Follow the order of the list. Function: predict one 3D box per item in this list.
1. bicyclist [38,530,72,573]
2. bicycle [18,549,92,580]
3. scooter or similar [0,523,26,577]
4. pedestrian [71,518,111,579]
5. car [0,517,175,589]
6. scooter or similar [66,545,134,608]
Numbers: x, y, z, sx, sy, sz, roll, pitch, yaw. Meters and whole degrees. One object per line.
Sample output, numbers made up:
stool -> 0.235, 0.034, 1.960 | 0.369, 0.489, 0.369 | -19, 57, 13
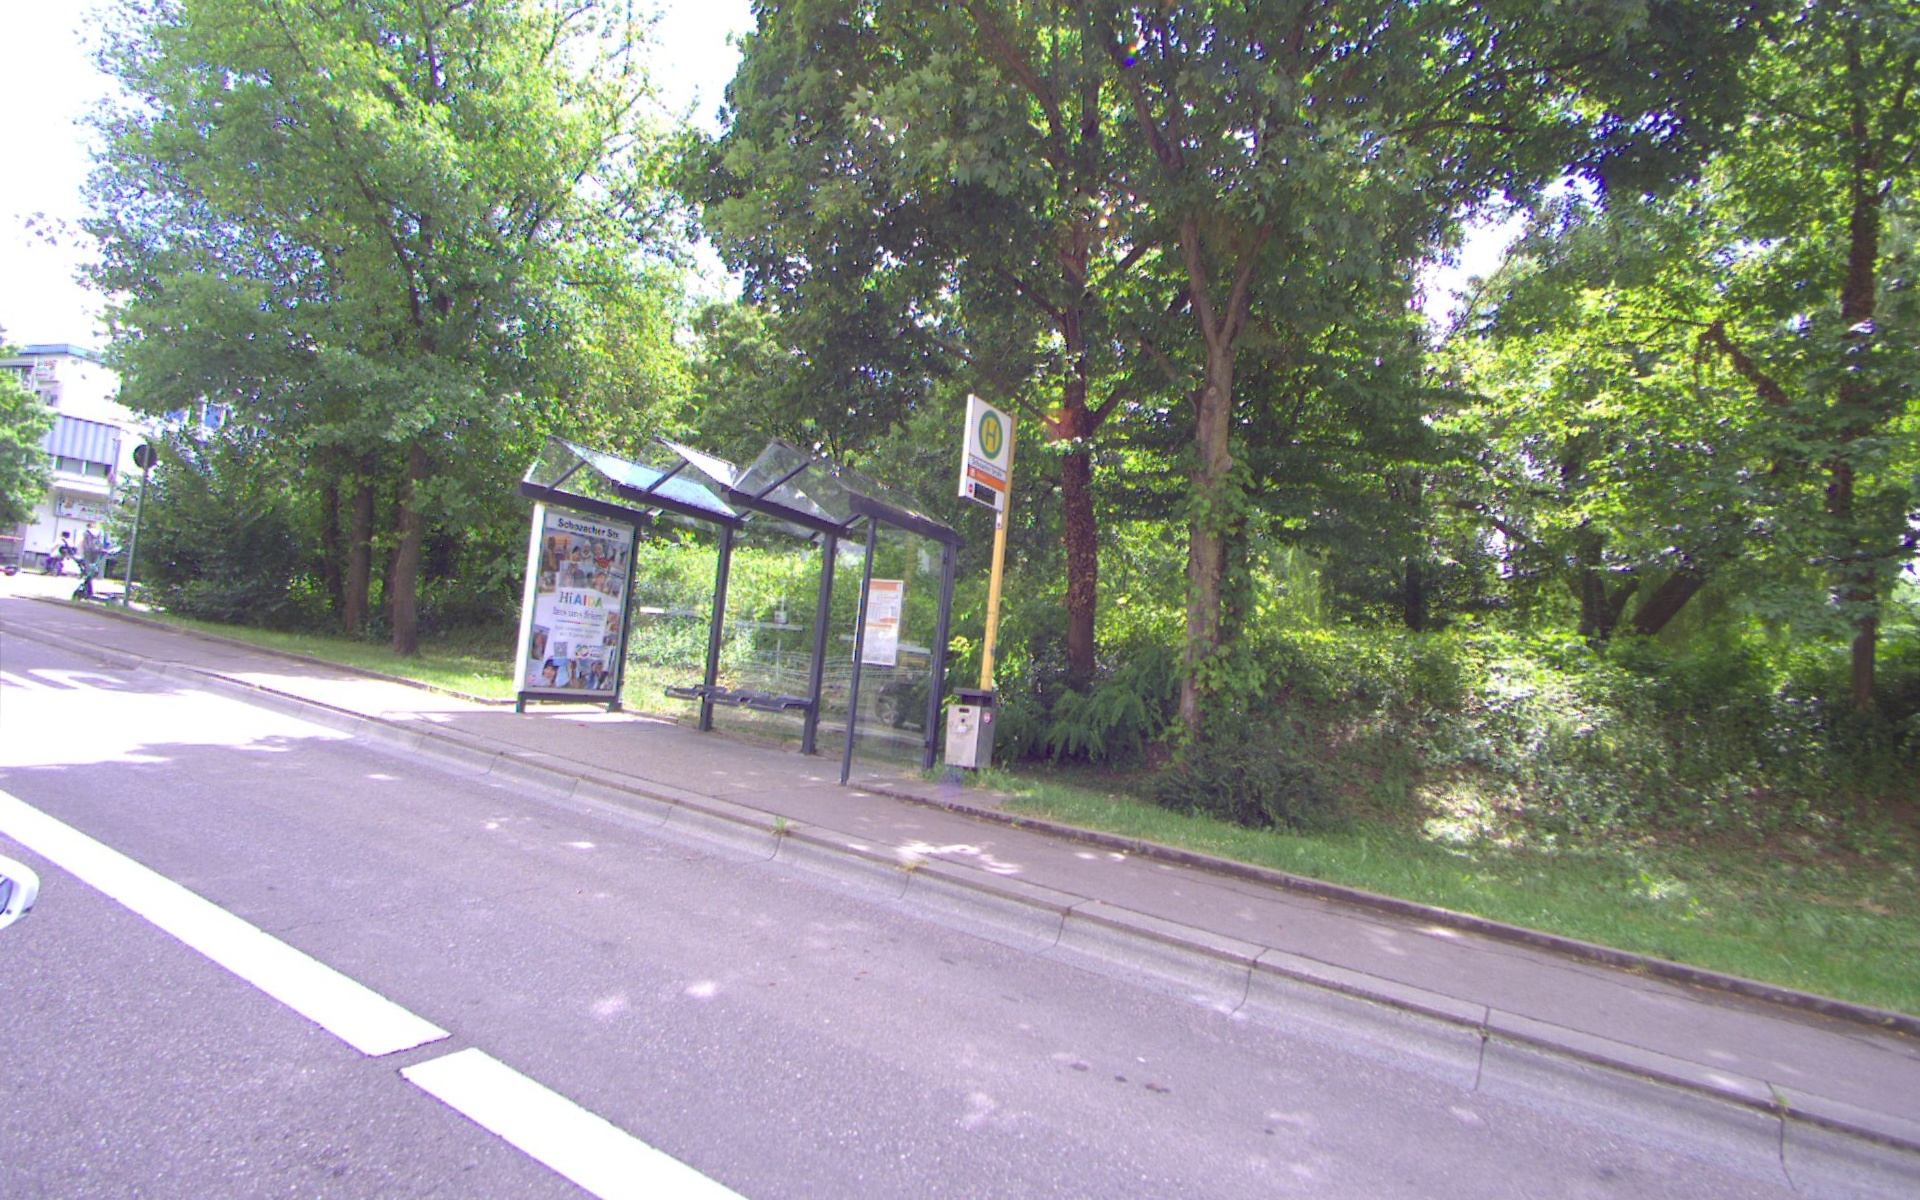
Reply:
bicyclist -> -26.038, -1.392, 28.945 | 0.392, 1.170, 0.503 | 7, -1, -1
bicycle -> -26.014, -1.011, 28.926 | 1.562, 0.616, 0.535 | 8, -3, -2
scooter or similar -> -24.352, -1.313, 25.220 | 0.546, 1.286, 1.153 | 6, -3, 34
pedestrian -> -25.999, -1.530, 30.105 | 0.653, 1.733, 0.458 | 8, -1, -32
car -> -33.488, -1.758, 38.760 | 1.964, 2.037, 4.551 | 6, -2, 24
scooter or similar -> -19.667, -0.531, 23.028 | 0.447, 1.242, 0.893 | 6, -6, 32
